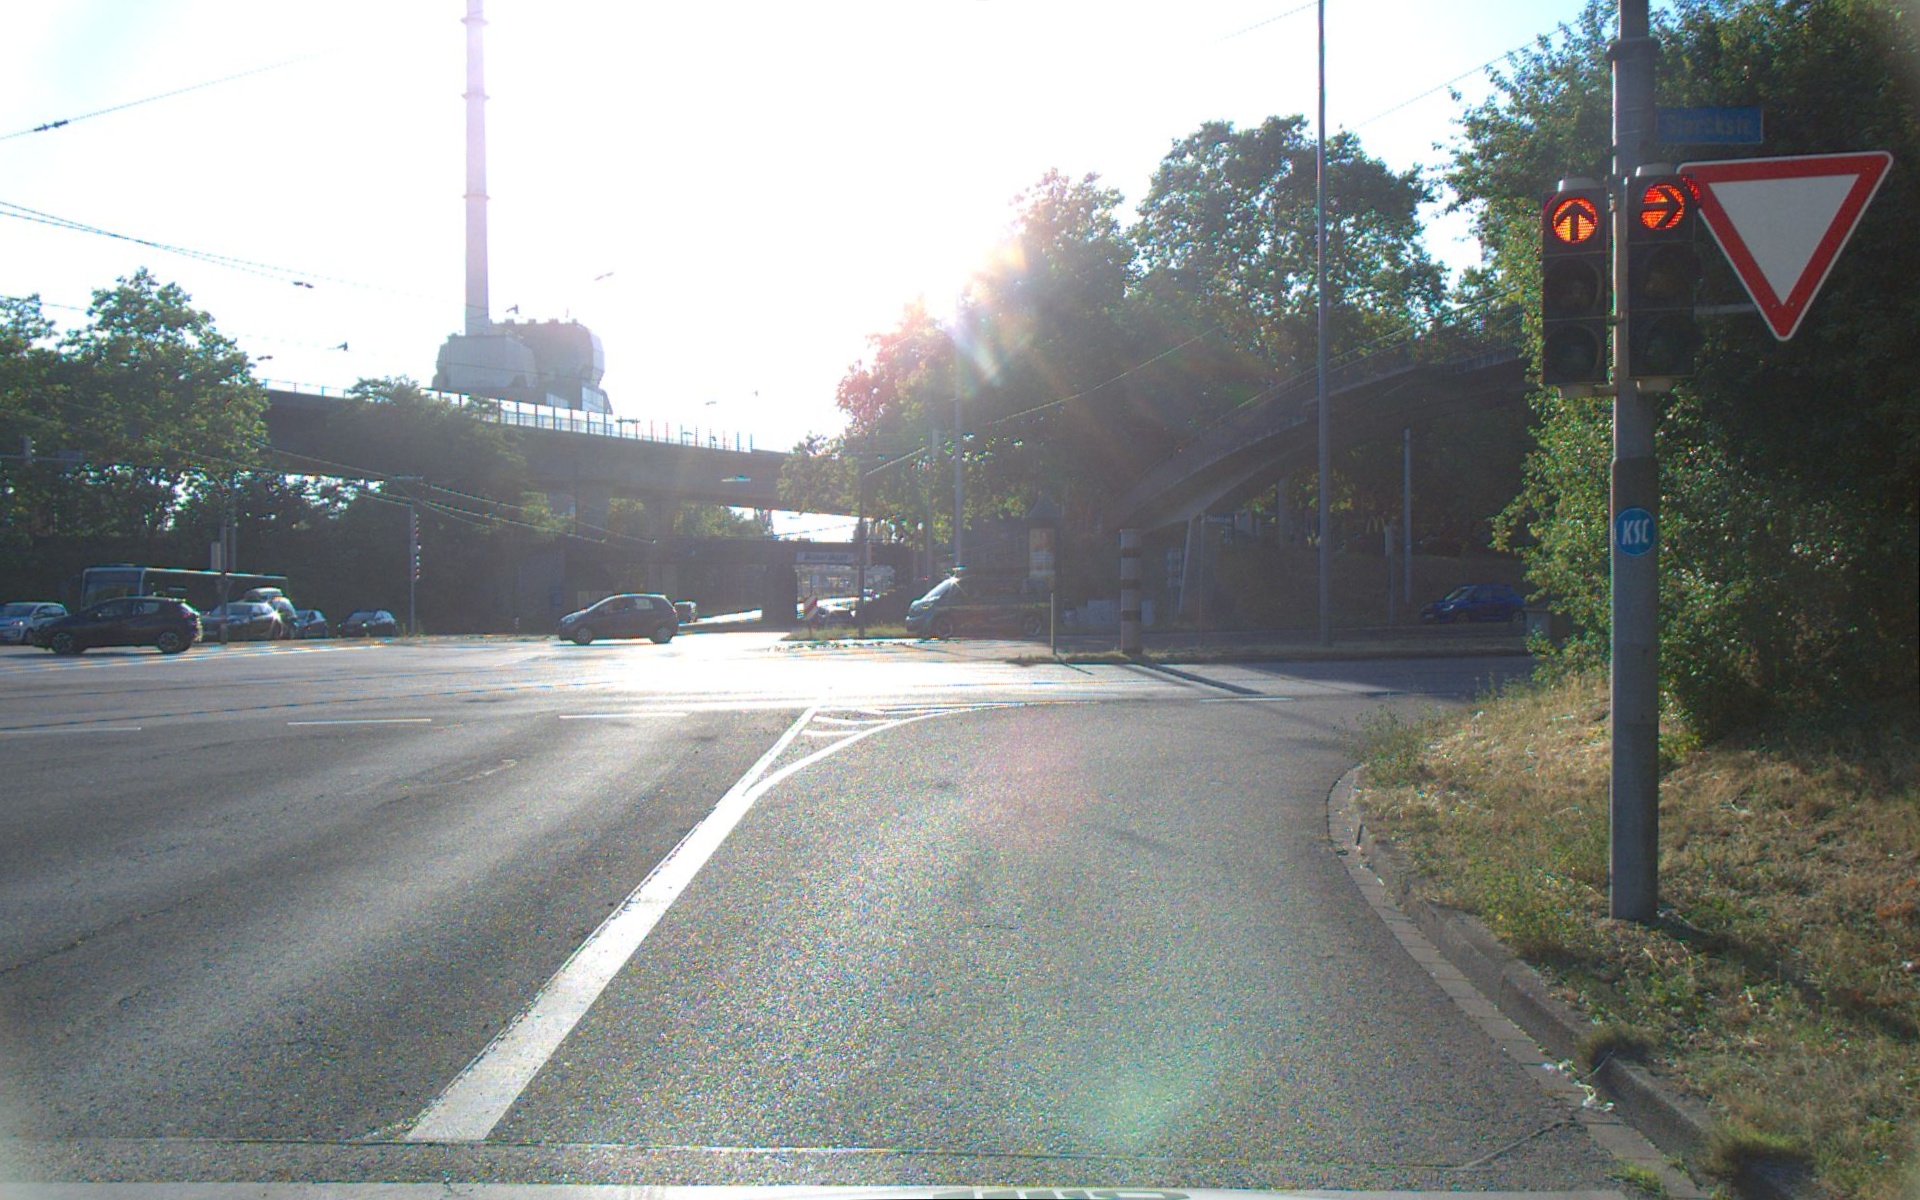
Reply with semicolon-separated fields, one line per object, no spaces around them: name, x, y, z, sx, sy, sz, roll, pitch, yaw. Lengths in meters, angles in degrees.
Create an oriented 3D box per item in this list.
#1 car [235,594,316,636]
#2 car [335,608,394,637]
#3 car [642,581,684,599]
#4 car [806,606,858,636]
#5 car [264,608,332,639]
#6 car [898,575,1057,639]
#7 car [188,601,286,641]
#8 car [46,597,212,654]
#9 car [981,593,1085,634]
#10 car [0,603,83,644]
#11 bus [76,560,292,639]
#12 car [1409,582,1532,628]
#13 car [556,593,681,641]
car;-28.240;0.593;68.357;1.676;1.681;4.095;0;0;0
car;-31.214;1.156;86.819;1.665;1.467;4.000;0;0;0
car;-29.606;-0.993;165.034;1.957;1.802;3.991;1;0;31
car;-6.514;1.044;83.858;1.665;1.447;4.130;0;0;-18
car;-32.000;1.116;80.034;1.665;1.467;4.000;0;0;0
car;0.531;0.208;51.942;4.620;1.939;1.988;0;0;-20
car;-25.730;0.713;59.006;1.676;1.378;4.095;0;0;0
car;-21.797;0.657;43.518;3.666;1.447;1.687;0;0;-20
car;3.124;0.561;70.770;4.119;1.681;1.717;0;0;21
car;-32.128;0.801;57.343;1.572;1.378;3.732;0;0;-3
bus;-32.114;-0.034;69.317;2.764;3.006;12.855;0;0;1
car;18.214;0.180;58.997;3.869;1.586;1.986;0;0;-23
car;-10.651;0.532;51.564;3.666;1.447;1.687;0;0;-20
